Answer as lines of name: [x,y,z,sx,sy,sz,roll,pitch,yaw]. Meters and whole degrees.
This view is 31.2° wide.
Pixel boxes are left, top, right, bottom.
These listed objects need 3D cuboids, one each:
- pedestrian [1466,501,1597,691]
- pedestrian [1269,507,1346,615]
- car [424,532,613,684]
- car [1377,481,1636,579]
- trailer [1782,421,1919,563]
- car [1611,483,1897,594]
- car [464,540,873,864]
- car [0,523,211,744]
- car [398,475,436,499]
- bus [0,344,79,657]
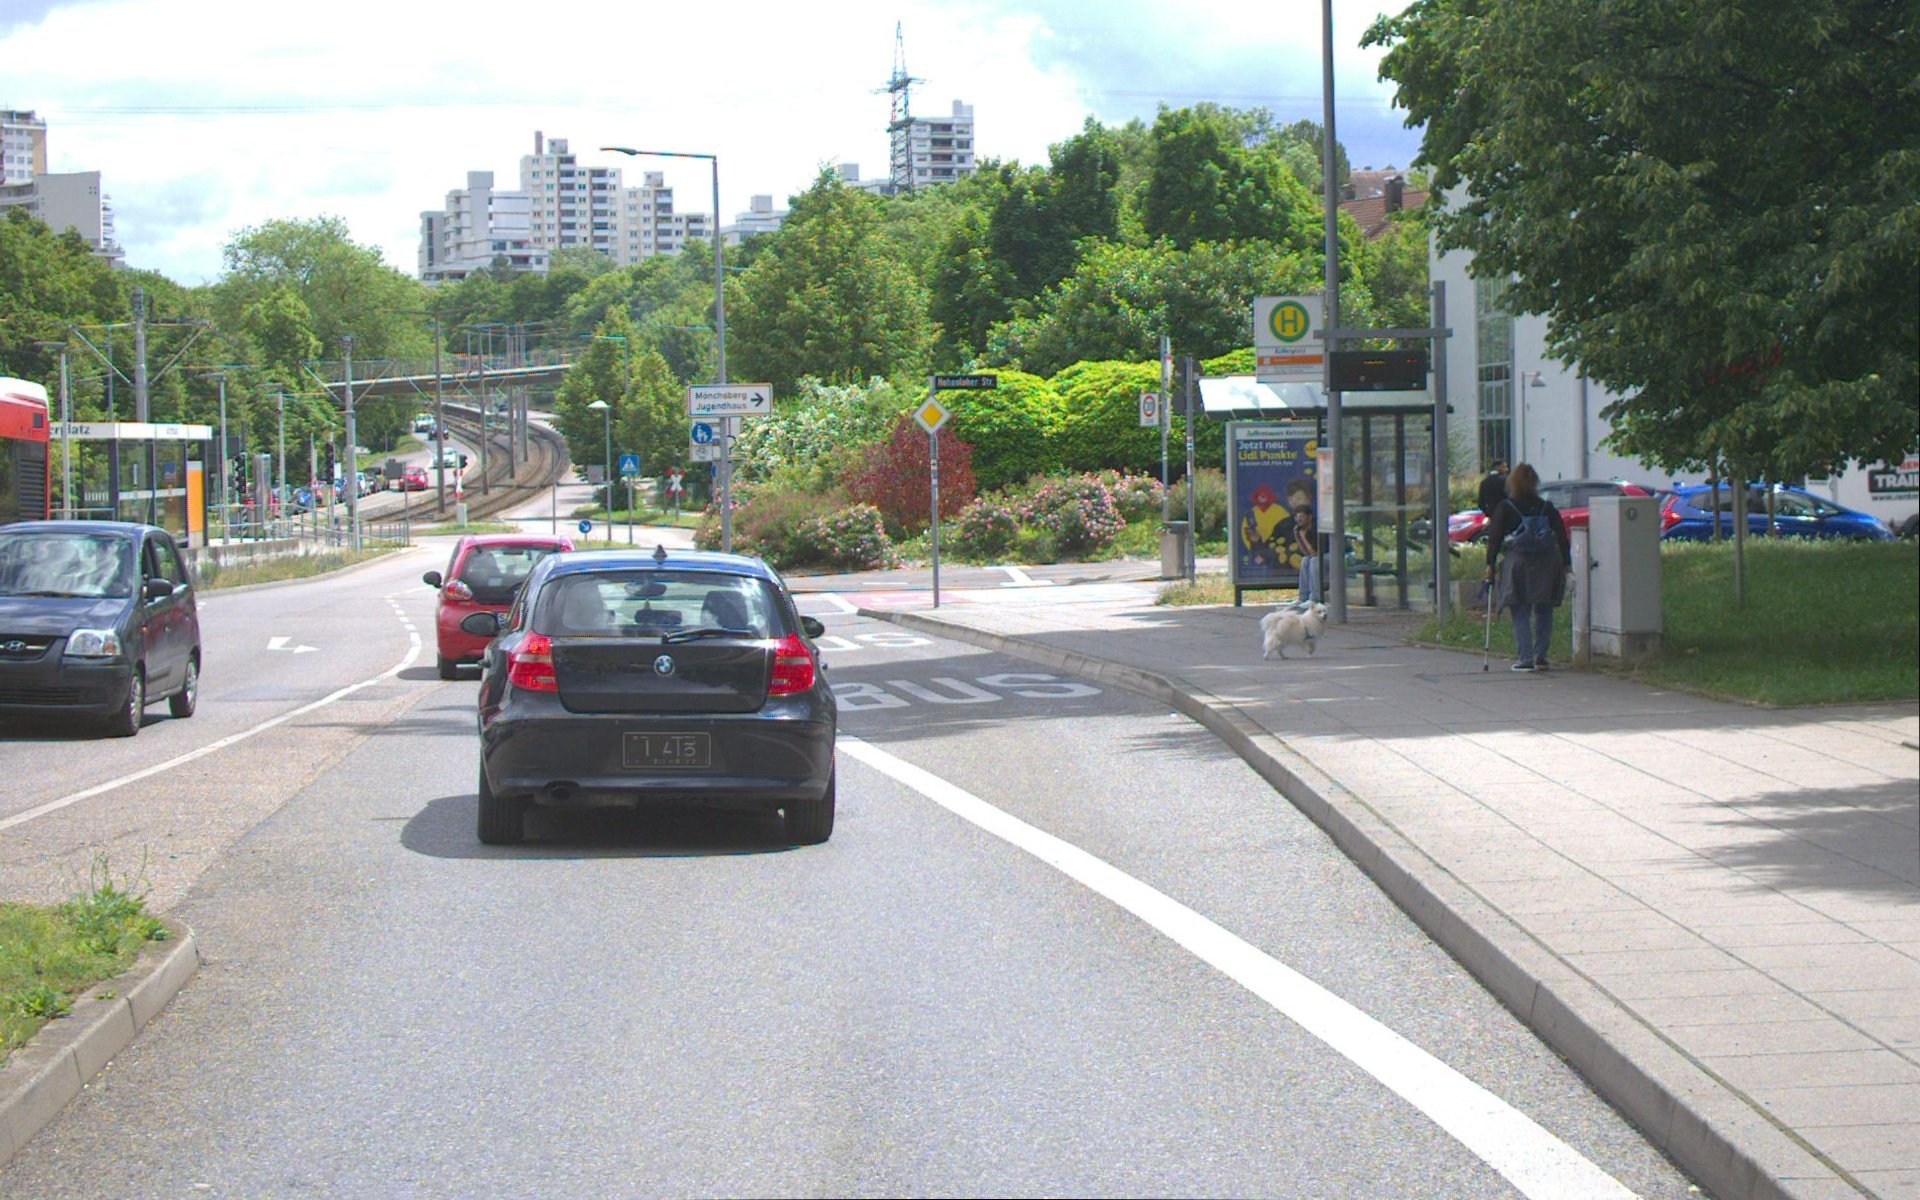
pedestrian: [4.409,-0.036,26.557,0.819,1.420,0.830,-1,1,-2]
pedestrian: [4.151,-0.474,41.062,0.827,1.254,0.686,-1,2,0]
car: [-4.588,0.040,35.396,1.765,1.427,3.480,-2,1,-9]
car: [9.721,-1.270,61.313,4.155,1.556,2.001,-2,4,-8]
trailer: [17.420,-1.988,62.124,4.536,2.478,2.222,-1,3,-4]
car: [12.052,-0.958,52.306,3.793,1.451,1.897,-3,3,-5]
car: [-1.516,0.438,17.691,1.815,1.416,4.001,-2,1,-5]
car: [-6.724,0.196,25.925,1.529,1.545,3.733,1,1,-3]
car: [-34.411,-7.168,217.845,1.720,1.497,2.967,-1,2,4]
bus: [-10.696,-0.931,32.504,2.726,3.059,8.965,-1,2,-2]
